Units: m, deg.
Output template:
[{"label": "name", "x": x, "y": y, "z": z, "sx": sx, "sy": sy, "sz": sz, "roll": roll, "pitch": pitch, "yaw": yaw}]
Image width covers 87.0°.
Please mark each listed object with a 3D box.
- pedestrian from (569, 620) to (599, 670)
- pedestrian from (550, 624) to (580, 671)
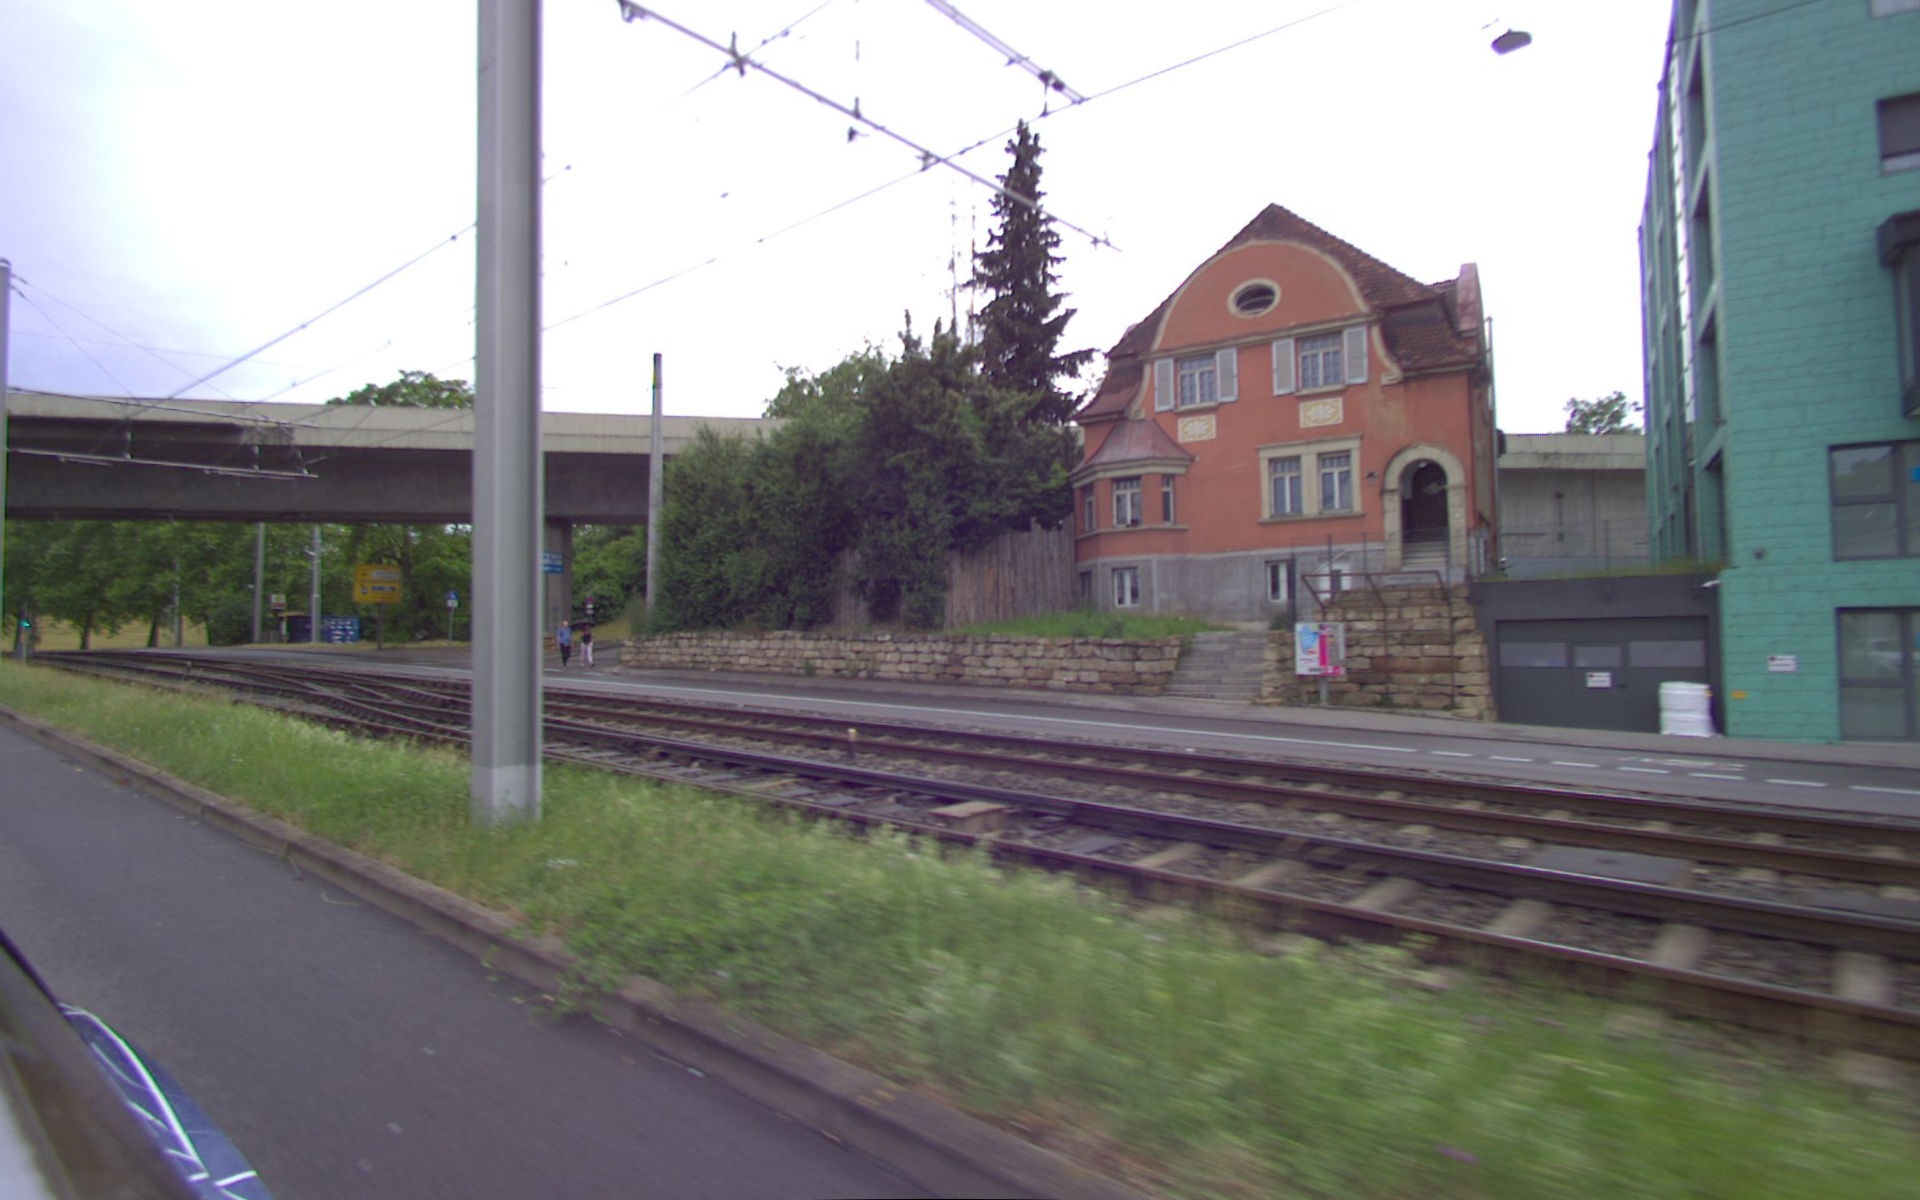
[{"label": "pedestrian", "x": -14.151, "y": 1.697, "z": 38.090, "sx": 0.866, "sy": 1.845, "sz": 0.686, "roll": -3, "pitch": -2, "yaw": 42}, {"label": "pedestrian", "x": -14.566, "y": 1.745, "z": 37.309, "sx": 0.888, "sy": 1.683, "sz": 0.685, "roll": -3, "pitch": -2, "yaw": 44}]
